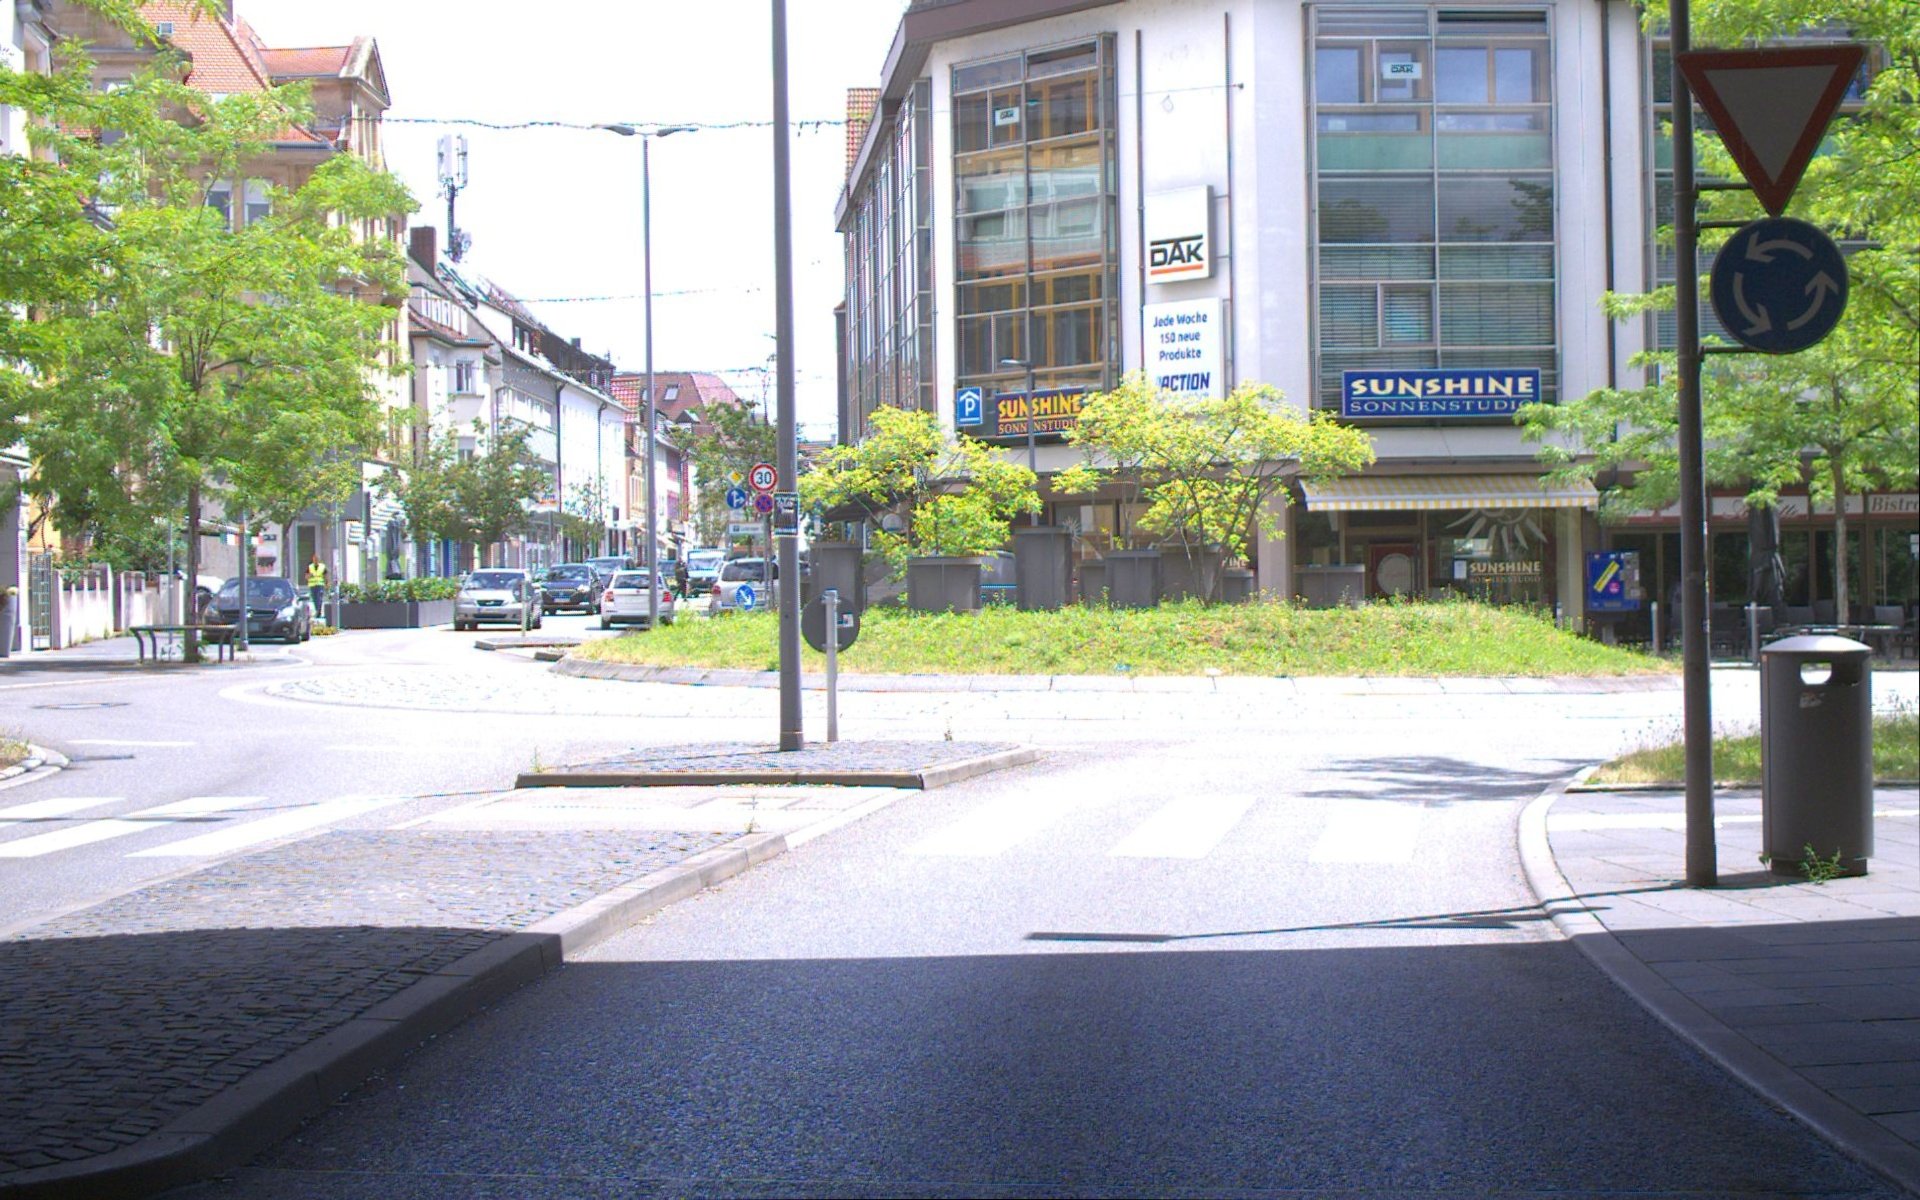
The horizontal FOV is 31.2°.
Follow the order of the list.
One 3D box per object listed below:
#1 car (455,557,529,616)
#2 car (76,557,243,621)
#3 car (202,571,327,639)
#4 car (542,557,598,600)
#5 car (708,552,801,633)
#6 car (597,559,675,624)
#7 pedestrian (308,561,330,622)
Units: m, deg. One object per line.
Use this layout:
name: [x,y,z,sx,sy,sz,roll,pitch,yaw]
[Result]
car: [-11.082,-0.338,81.507,1.709,1.349,4.001,0,1,-7]
car: [-22.687,-0.313,97.366,4.417,1.769,2.001,0,0,-19]
car: [-13.469,0.075,66.733,1.709,1.241,4.412,0,1,-2]
car: [-12.551,-0.716,110.512,1.709,1.349,4.001,0,1,-7]
car: [-4.578,-0.172,77.054,1.824,1.725,4.233,-1,0,0]
car: [-7.873,-0.218,83.744,1.824,1.514,4.234,-1,0,-5]
pedestrian: [-17.547,-0.236,94.166,0.551,1.680,0.516,0,1,-7]
